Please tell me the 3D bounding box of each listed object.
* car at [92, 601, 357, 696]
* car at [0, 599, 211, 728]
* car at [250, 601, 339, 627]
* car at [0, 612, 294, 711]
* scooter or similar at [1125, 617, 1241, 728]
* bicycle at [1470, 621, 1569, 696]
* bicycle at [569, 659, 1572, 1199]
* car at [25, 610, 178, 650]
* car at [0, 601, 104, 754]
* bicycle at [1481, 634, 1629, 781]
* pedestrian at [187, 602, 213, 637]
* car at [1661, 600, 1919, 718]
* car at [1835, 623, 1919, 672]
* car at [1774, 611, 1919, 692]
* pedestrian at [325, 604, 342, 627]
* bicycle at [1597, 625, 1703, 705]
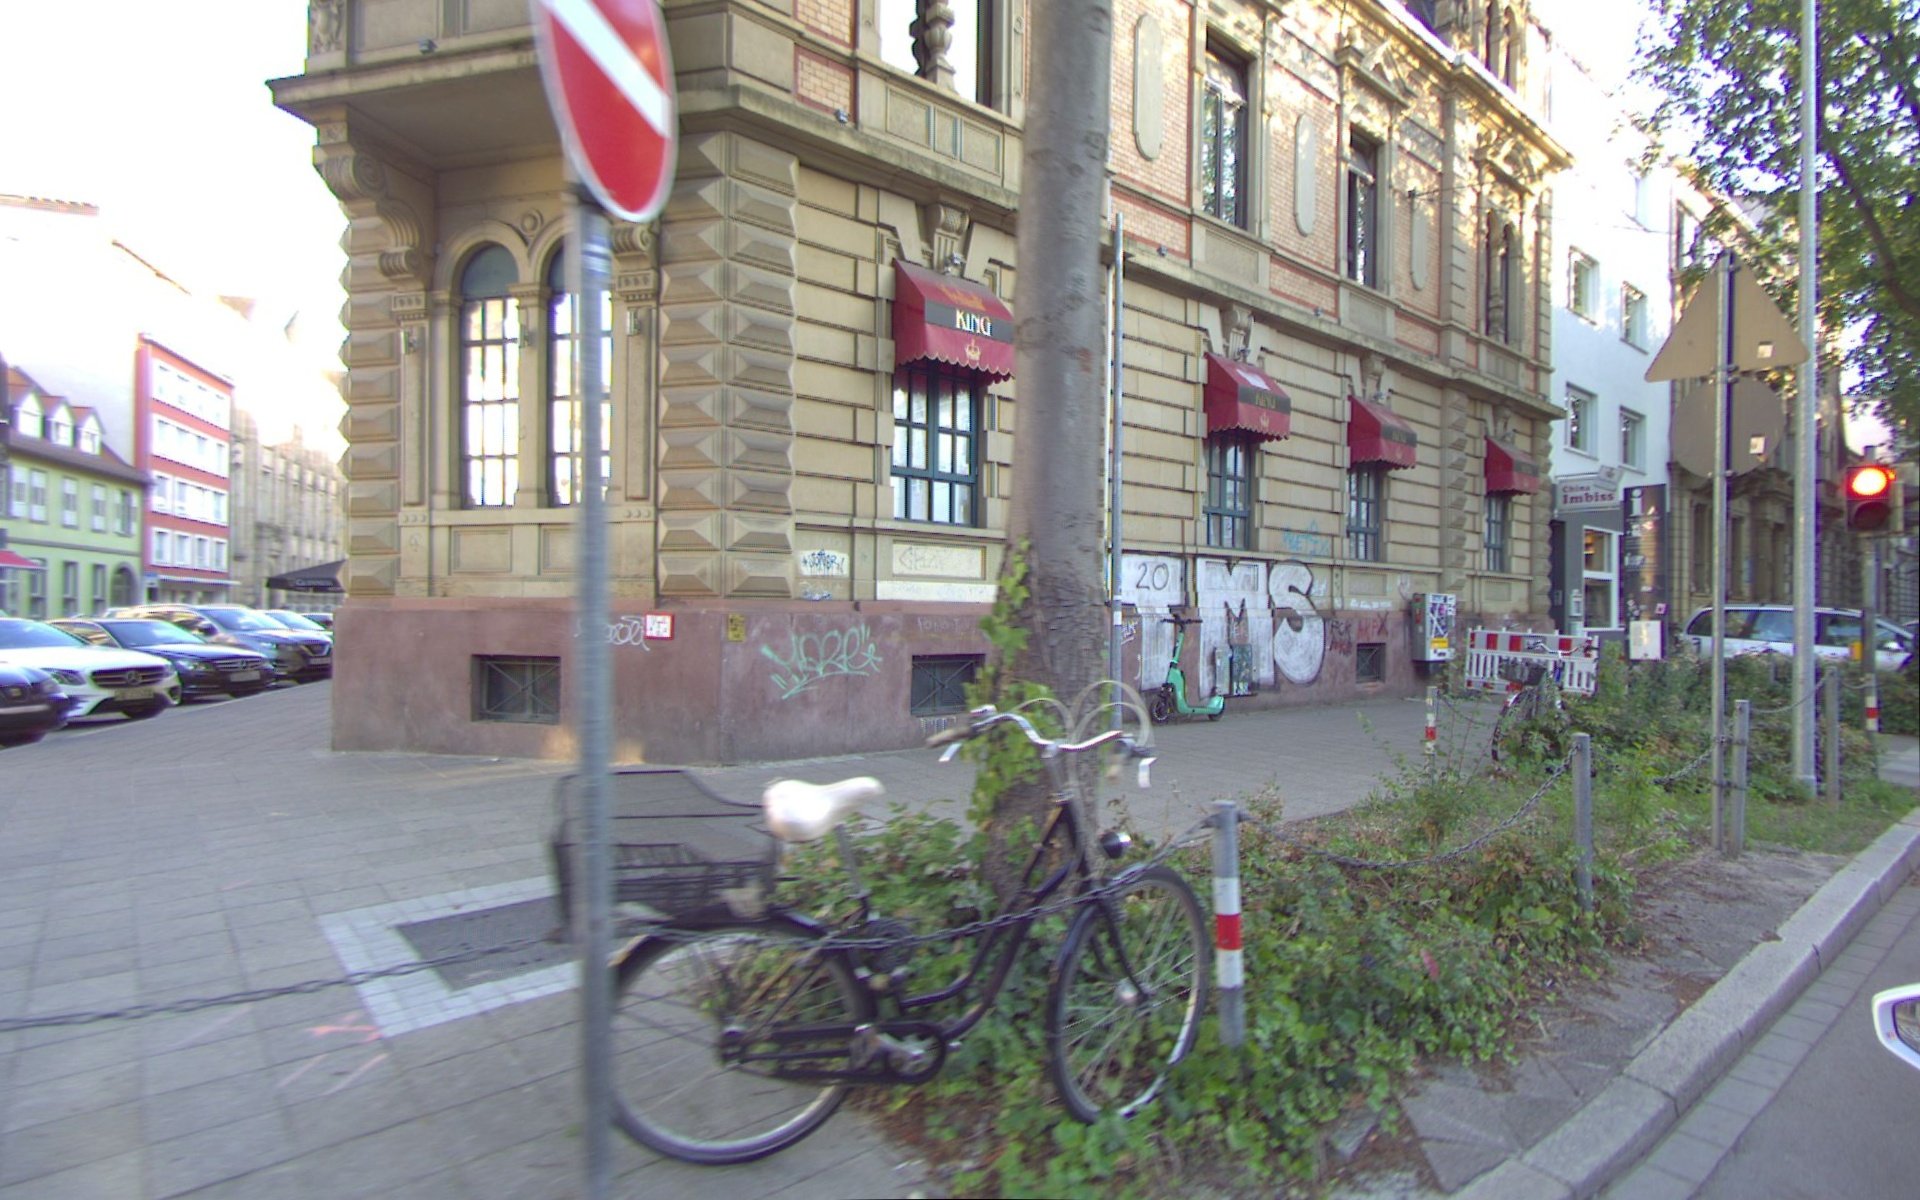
[{"bbox_3d":[-14.177,0.914,19.473,3.968,1.678,1.794,1,-1,7],"label":"car"},{"bbox_3d":[-12.603,0.821,13.203,4.535,1.532,1.770,-1,-1,10],"label":"car"},{"bbox_3d":[-40.324,0.846,60.934,1.729,1.493,4.205,0,-1,42],"label":"car"},{"bbox_3d":[-13.549,0.970,16.546,4.165,1.467,1.712,1,-1,7],"label":"car"},{"bbox_3d":[2.524,0.796,11.343,1.271,1.183,0.436,1,1,-29],"label":"scooter or similar"},{"bbox_3d":[9.789,0.989,17.526,2.542,1.217,0.631,1,-1,-39],"label":"bicycle"},{"bbox_3d":[0.374,0.829,2.608,2.538,1.284,0.840,1,-1,-26],"label":"bicycle"},{"bbox_3d":[-33.315,1.128,39.102,1.724,1.458,4.217,0,-1,32],"label":"car"},{"bbox_3d":[-11.144,0.834,10.061,3.785,1.480,1.742,-3,-1,6],"label":"car"},{"bbox_3d":[5.503,0.924,9.223,2.084,1.169,0.506,1,1,-41],"label":"bicycle"},{"bbox_3d":[-43.762,1.122,57.836,0.836,1.970,1.010,1,-1,-13],"label":"pedestrian"},{"bbox_3d":[15.032,0.957,17.369,1.820,1.859,4.506,1,-1,-42],"label":"car"},{"bbox_3d":[28.382,1.381,28.977,1.818,1.390,4.511,1,-1,-39],"label":"car"},{"bbox_3d":[20.905,1.114,22.004,1.818,1.711,4.511,1,-1,-39],"label":"car"},{"bbox_3d":[-50.188,1.228,80.422,0.836,1.824,1.010,1,-1,-13],"label":"pedestrian"},{"bbox_3d":[11.326,1.019,16.446,2.612,1.202,0.728,1,1,-40],"label":"bicycle"}]
